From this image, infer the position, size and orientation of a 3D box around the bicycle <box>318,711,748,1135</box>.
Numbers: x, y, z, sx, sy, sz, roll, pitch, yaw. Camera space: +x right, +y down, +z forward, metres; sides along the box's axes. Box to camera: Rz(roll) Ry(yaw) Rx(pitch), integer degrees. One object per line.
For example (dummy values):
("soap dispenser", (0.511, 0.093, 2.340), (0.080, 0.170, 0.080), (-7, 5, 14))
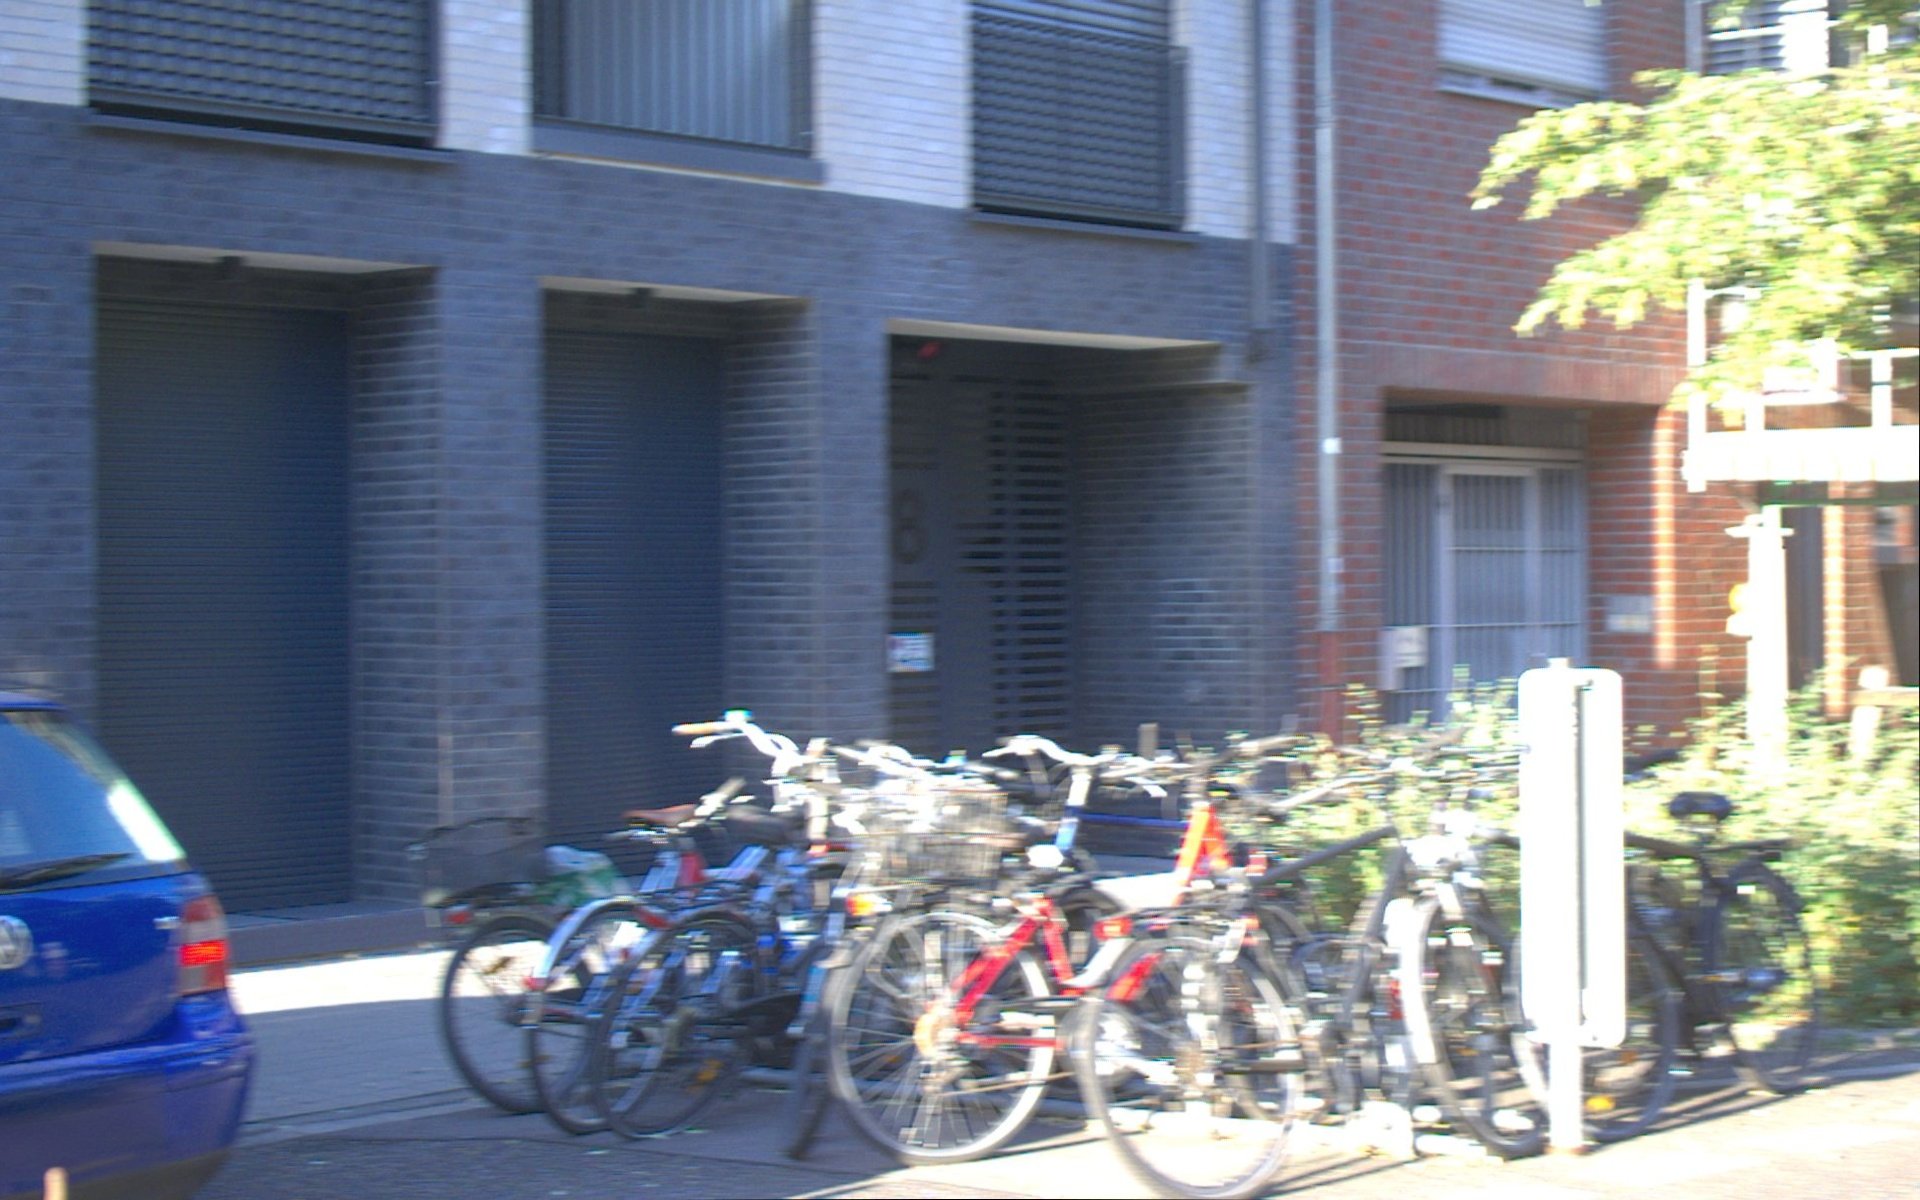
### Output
("bicycle", (-1.297, 0.960, 10.641), (0.388, 1.179, 1.402), (0, 0, 42))

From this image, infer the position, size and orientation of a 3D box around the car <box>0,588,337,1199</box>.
("car", (-3.555, 0.797, 8.085), (4.113, 1.558, 1.690), (-1, -1, 35))

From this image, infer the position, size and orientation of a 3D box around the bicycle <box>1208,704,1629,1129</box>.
("bicycle", (1.437, 0.930, 10.587), (0.488, 1.159, 1.548), (0, 0, 42))

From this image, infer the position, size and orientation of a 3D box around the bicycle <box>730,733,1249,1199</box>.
("bicycle", (0.109, 0.974, 9.398), (1.548, 1.153, 0.418), (-1, 0, -43))

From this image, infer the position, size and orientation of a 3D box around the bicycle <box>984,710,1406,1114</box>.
("bicycle", (0.778, 0.956, 11.003), (0.488, 1.146, 1.548), (0, 0, 42))

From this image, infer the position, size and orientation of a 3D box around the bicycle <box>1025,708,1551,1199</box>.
("bicycle", (0.864, 0.914, 8.730), (0.498, 1.216, 1.548), (0, 0, 42))

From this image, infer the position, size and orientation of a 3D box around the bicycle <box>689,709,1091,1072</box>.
("bicycle", (-0.219, 0.975, 11.994), (0.458, 1.128, 1.548), (0, 0, 42))

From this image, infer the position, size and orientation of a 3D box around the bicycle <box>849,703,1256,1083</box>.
("bicycle", (0.336, 0.945, 11.559), (0.468, 1.140, 1.548), (0, 0, 42))

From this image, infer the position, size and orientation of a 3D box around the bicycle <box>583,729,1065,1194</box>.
("bicycle", (-0.354, 0.976, 9.733), (0.381, 1.156, 1.548), (0, 0, 42))

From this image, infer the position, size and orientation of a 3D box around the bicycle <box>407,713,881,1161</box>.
("bicycle", (-0.911, 0.959, 10.258), (0.387, 1.185, 1.548), (0, 0, 42))

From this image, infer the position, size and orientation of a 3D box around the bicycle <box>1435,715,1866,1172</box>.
("bicycle", (2.043, 0.955, 10.050), (0.508, 1.175, 1.548), (0, 0, 42))
